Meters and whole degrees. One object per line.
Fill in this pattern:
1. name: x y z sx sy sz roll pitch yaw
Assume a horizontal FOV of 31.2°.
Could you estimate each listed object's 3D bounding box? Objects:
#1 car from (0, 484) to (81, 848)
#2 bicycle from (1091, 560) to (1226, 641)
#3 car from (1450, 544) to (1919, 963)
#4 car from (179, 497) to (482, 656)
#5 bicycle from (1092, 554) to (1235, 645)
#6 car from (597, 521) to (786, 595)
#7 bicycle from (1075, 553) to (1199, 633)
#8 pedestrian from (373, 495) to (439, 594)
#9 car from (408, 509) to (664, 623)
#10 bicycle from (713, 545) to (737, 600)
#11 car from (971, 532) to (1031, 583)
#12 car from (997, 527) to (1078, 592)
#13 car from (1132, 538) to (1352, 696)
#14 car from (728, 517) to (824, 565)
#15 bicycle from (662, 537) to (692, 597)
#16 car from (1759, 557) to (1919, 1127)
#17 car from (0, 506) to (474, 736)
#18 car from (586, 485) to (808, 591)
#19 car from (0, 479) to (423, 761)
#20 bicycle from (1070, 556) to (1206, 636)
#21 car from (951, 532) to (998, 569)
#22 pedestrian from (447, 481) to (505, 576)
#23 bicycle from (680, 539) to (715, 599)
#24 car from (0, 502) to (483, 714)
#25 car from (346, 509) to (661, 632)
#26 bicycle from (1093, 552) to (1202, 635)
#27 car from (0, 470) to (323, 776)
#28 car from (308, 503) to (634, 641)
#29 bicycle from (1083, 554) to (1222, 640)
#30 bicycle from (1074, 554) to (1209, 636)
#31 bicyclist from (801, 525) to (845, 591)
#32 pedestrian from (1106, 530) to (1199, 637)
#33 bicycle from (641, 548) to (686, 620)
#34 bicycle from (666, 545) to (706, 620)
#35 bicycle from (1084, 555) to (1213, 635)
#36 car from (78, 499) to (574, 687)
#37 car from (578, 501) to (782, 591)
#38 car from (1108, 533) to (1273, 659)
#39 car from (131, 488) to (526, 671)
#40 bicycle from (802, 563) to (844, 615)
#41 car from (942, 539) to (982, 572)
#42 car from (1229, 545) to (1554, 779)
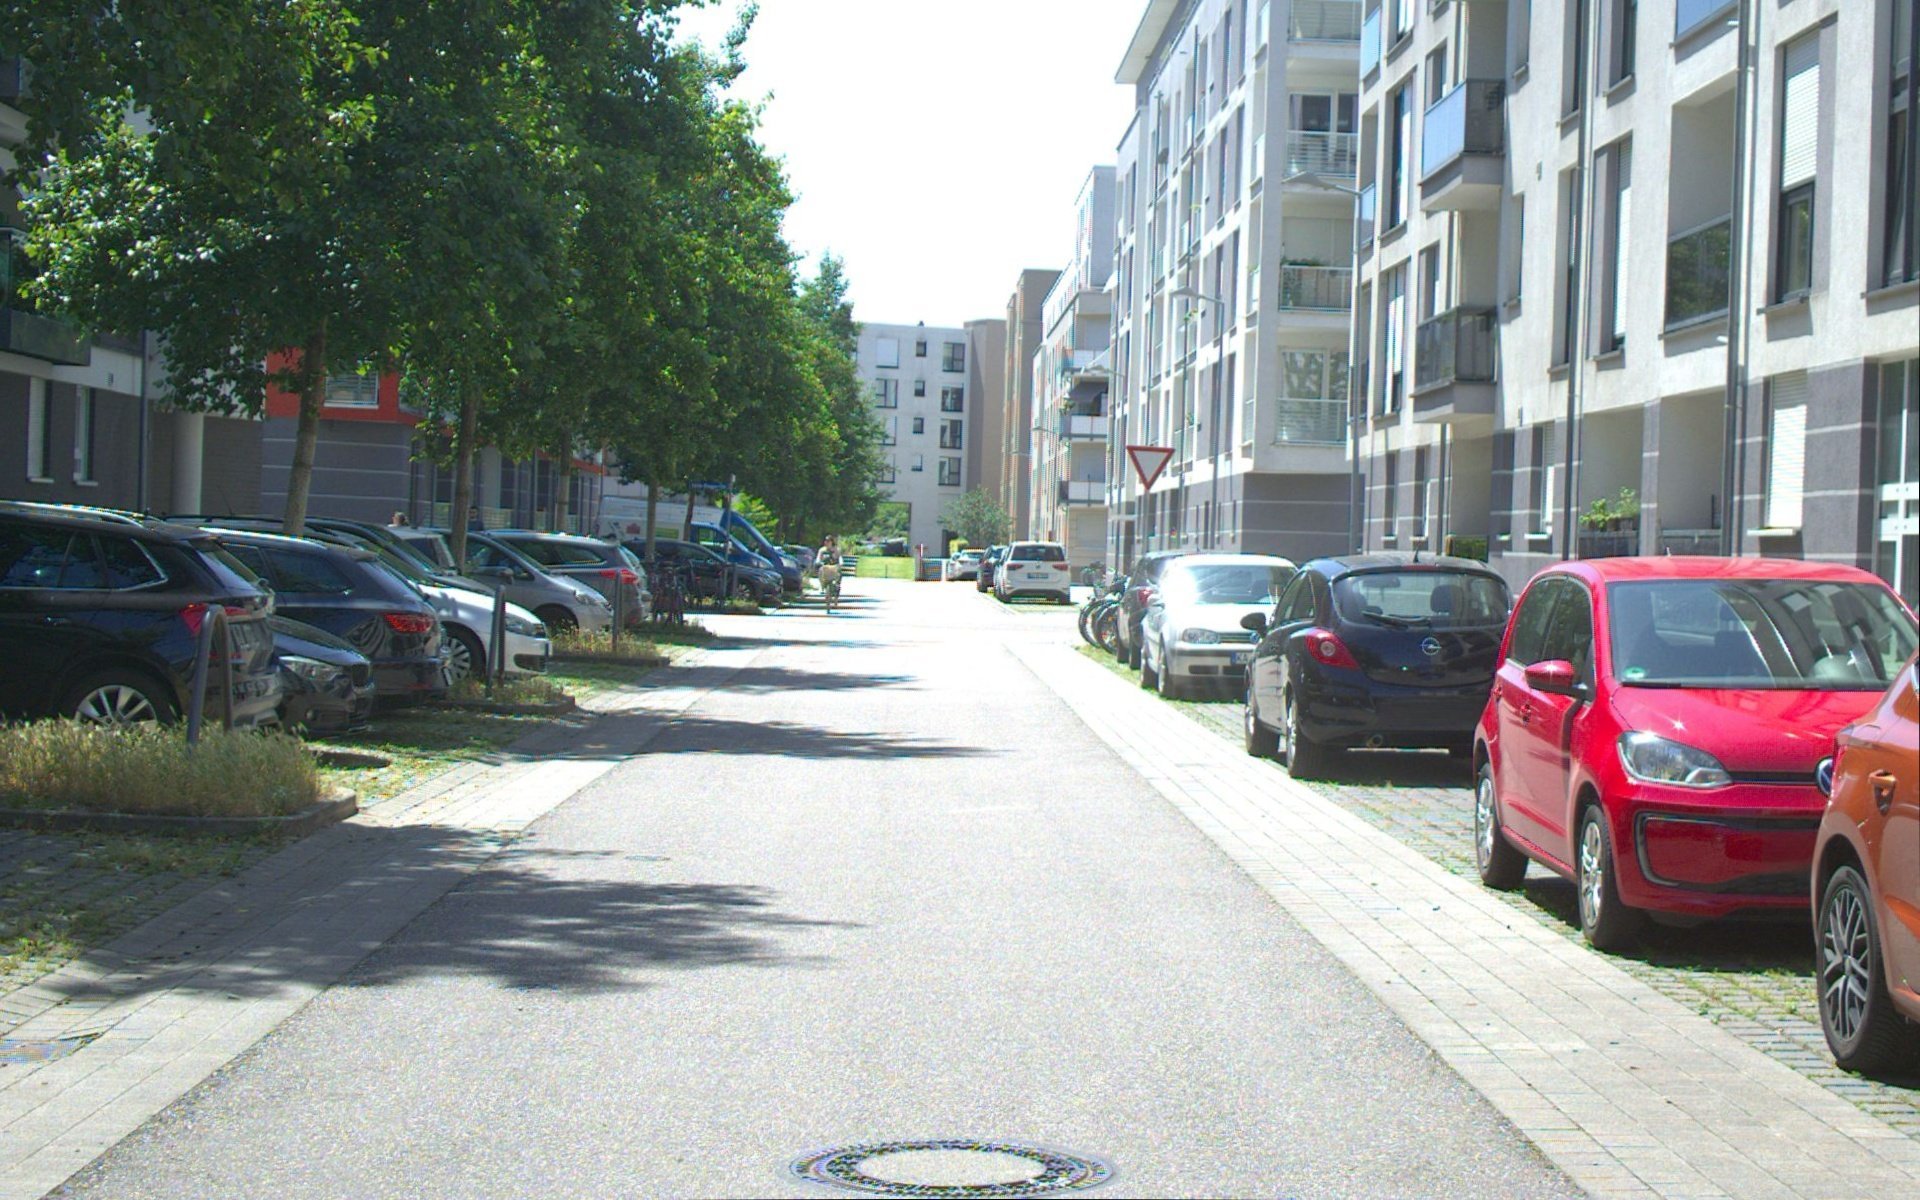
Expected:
1. car: -6.150 0.176 15.185 3.987 1.586 1.884 3 1 0
2. bicycle: 2.767 0.007 48.014 1.786 1.100 0.747 1 1 -4
3. car: 3.101 0.521 14.147 1.595 1.480 3.676 0 1 -1
4. car: -6.861 -0.273 37.693 2.932 1.495 1.849 4 1 -2
5. bicycle: 2.791 -0.012 47.267 1.869 1.213 0.715 1 1 -4
6. car: -6.510 -1.038 83.796 4.383 1.509 2.075 4 1 -1
7. bicycle: 2.690 -0.112 52.315 1.859 1.189 0.687 1 1 2
8. pedestrian: -9.707 -0.975 60.259 1.000 1.684 0.832 2 1 0
9. car: -6.465 -0.531 52.672 3.630 1.515 1.832 3 1 -1
10. bicycle: -5.047 -0.602 73.909 0.466 1.138 1.926 2 1 -3
11. car: 1.349 -1.385 111.157 1.757 1.547 4.000 2 1 2
12. car: 2.025 -1.094 91.052 1.997 1.651 4.115 1 1 0
13. car: 2.828 0.125 35.302 1.834 1.499 4.351 0 1 -1
14. car: -8.291 -2.657 155.232 3.988 2.007 2.000 2 1 6
15. bicycle: -6.066 -0.714 73.687 0.434 1.200 1.700 3 2 0
16. car: 3.400 0.658 8.615 1.737 1.482 4.259 1 1 -1
17. car: -5.651 0.118 25.172 3.973 1.440 1.776 3 1 -4
18. car: -7.333 -1.749 96.398 6.023 2.806 2.605 1 1 -1
19. car: -5.725 0.062 22.625 3.987 1.645 1.918 3 1 1
20. bicycle: 2.601 -0.058 50.318 1.924 1.129 0.609 1 1 9
21. car: 0.670 -2.316 159.703 1.993 1.669 4.001 2 1 -2
22. pedestrian: -10.327 -1.526 73.428 1.009 2.007 1.129 1 1 2
23. bicycle: -5.633 -0.669 73.685 0.570 1.170 1.769 5 2 -8
24. car: -6.017 0.037 27.746 3.987 1.417 1.897 4 1 0
25. car: -6.288 -0.396 47.756 4.180 1.481 1.959 3 0 -4
26. bicycle: 2.811 -0.107 51.606 1.550 1.213 0.708 1 1 -2
27. car: -5.930 0.039 20.096 3.987 1.624 1.933 3 1 -1
28. car: -6.337 -0.374 44.859 3.937 1.548 1.872 3 1 -1
29. bicycle: 2.763 -0.047 49.369 1.923 1.213 0.461 1 1 -10
30. bicycle: 2.691 -0.082 50.923 1.924 1.175 0.638 1 1 9
31. bicyclist: -3.119 -0.962 78.239 0.954 1.454 0.800 2 1 -1
32. pedestrian: 2.766 -0.241 49.493 1.178 1.509 0.688 1 1 -10
33. bicycle: -4.768 -0.269 55.180 0.433 1.124 1.979 1 1 -13
34. bicycle: -4.406 -0.288 55.211 0.371 1.176 1.821 1 1 -13
35. bicycle: 2.741 -0.075 49.953 1.833 1.144 0.461 0 1 -19
36. car: -5.872 -0.083 32.284 4.360 1.704 2.000 0 1 -3
37. car: -7.381 -1.444 90.971 5.145 2.112 2.312 3 1 -1
38. car: 2.874 -0.092 43.619 1.739 1.480 4.229 1 1 -1
39. car: -6.309 -0.212 34.694 3.707 1.580 1.821 3 1 -6
40. bicycle: -3.113 -0.263 78.339 0.898 1.125 2.040 2 1 -2
41. car: 0.077 -2.430 186.932 1.993 1.711 4.001 2 1 -2
42. car: 2.902 0.362 23.878 1.642 1.457 4.118 0 1 -1
